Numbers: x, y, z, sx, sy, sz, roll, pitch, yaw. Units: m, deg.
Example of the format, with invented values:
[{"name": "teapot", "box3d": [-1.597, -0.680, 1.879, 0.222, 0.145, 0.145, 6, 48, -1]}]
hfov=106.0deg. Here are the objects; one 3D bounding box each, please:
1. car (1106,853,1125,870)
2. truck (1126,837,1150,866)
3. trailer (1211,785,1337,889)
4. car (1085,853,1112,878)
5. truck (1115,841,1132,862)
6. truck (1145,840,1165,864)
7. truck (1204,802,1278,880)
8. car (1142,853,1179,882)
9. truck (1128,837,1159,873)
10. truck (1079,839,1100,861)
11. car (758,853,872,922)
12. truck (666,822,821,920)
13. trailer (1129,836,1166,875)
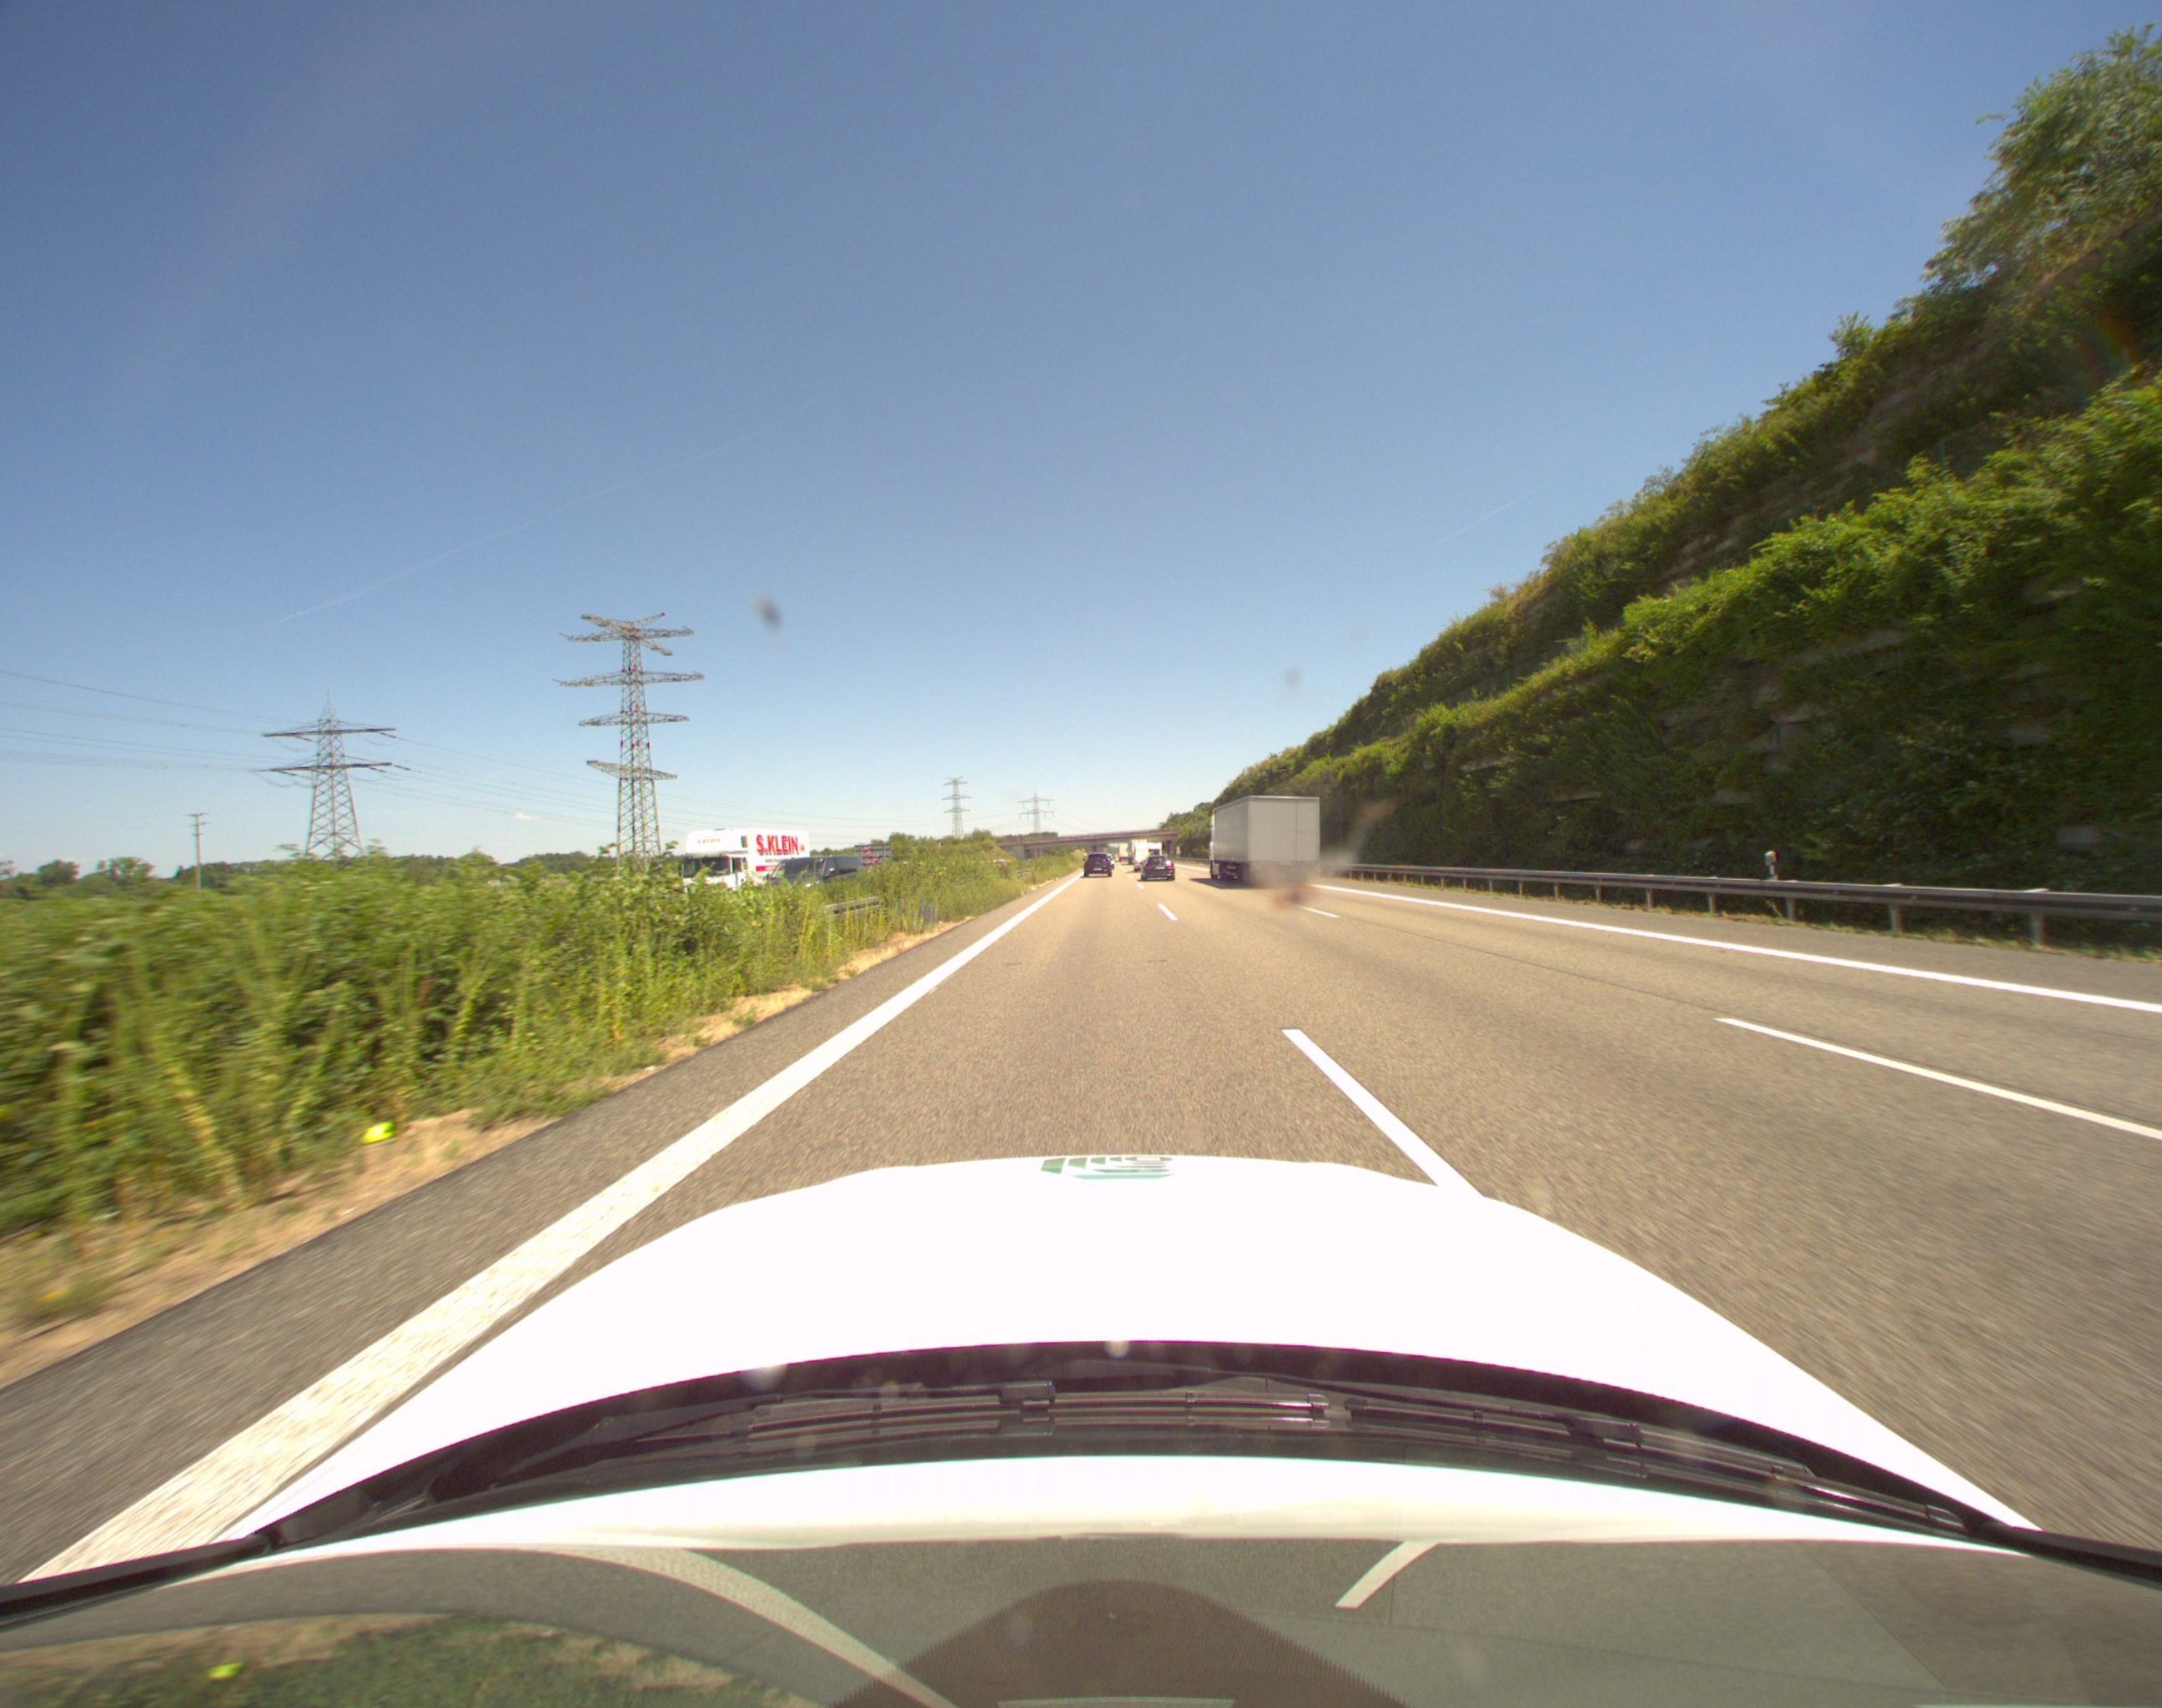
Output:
[{"name": "car", "box3d": [3.756, 0.801, 88.689, 1.824, 1.670, 3.999, -2, 0, 0]}, {"name": "truck", "box3d": [8.919, -0.411, 128.973, 3.107, 4.280, 11.938, -2, 0, 2]}, {"name": "trailer", "box3d": [8.894, -0.682, 39.719, 3.171, 4.121, 13.435, -2, 0, 2]}, {"name": "car", "box3d": [1.235, 0.808, 57.909, 1.823, 1.670, 4.001, -2, 0, 1]}, {"name": "truck", "box3d": [9.263, -0.604, 178.184, 3.397, 4.280, 10.611, -2, 0, 2]}, {"name": "truck", "box3d": [13.971, -0.353, 154.836, 3.107, 4.280, 10.171, -2, 0, 2]}, {"name": "truck", "box3d": [9.077, -0.698, 46.769, 3.124, 4.141, 5.505, -2, 0, 1]}, {"name": "car", "box3d": [4.600, 0.764, 47.589, 1.823, 1.525, 4.002, -3, 0, 2]}, {"name": "truck", "box3d": [6.019, 0.112, 79.117, 2.584, 3.241, 4.699, -2, 0, 1]}, {"name": "truck", "box3d": [1.715, -0.847, 165.294, 3.948, 4.113, 9.954, -2, 0, 1]}, {"name": "car", "box3d": [-8.683, 1.016, 27.107, 1.987, 2.013, 5.118, -2, 0, 1]}, {"name": "truck", "box3d": [-16.381, 0.741, 40.762, 2.862, 4.176, 10.573, -2, 0, 2]}, {"name": "trailer", "box3d": [5.931, 0.125, 74.316, 2.601, 3.213, 9.954, -2, 0, 1]}]
